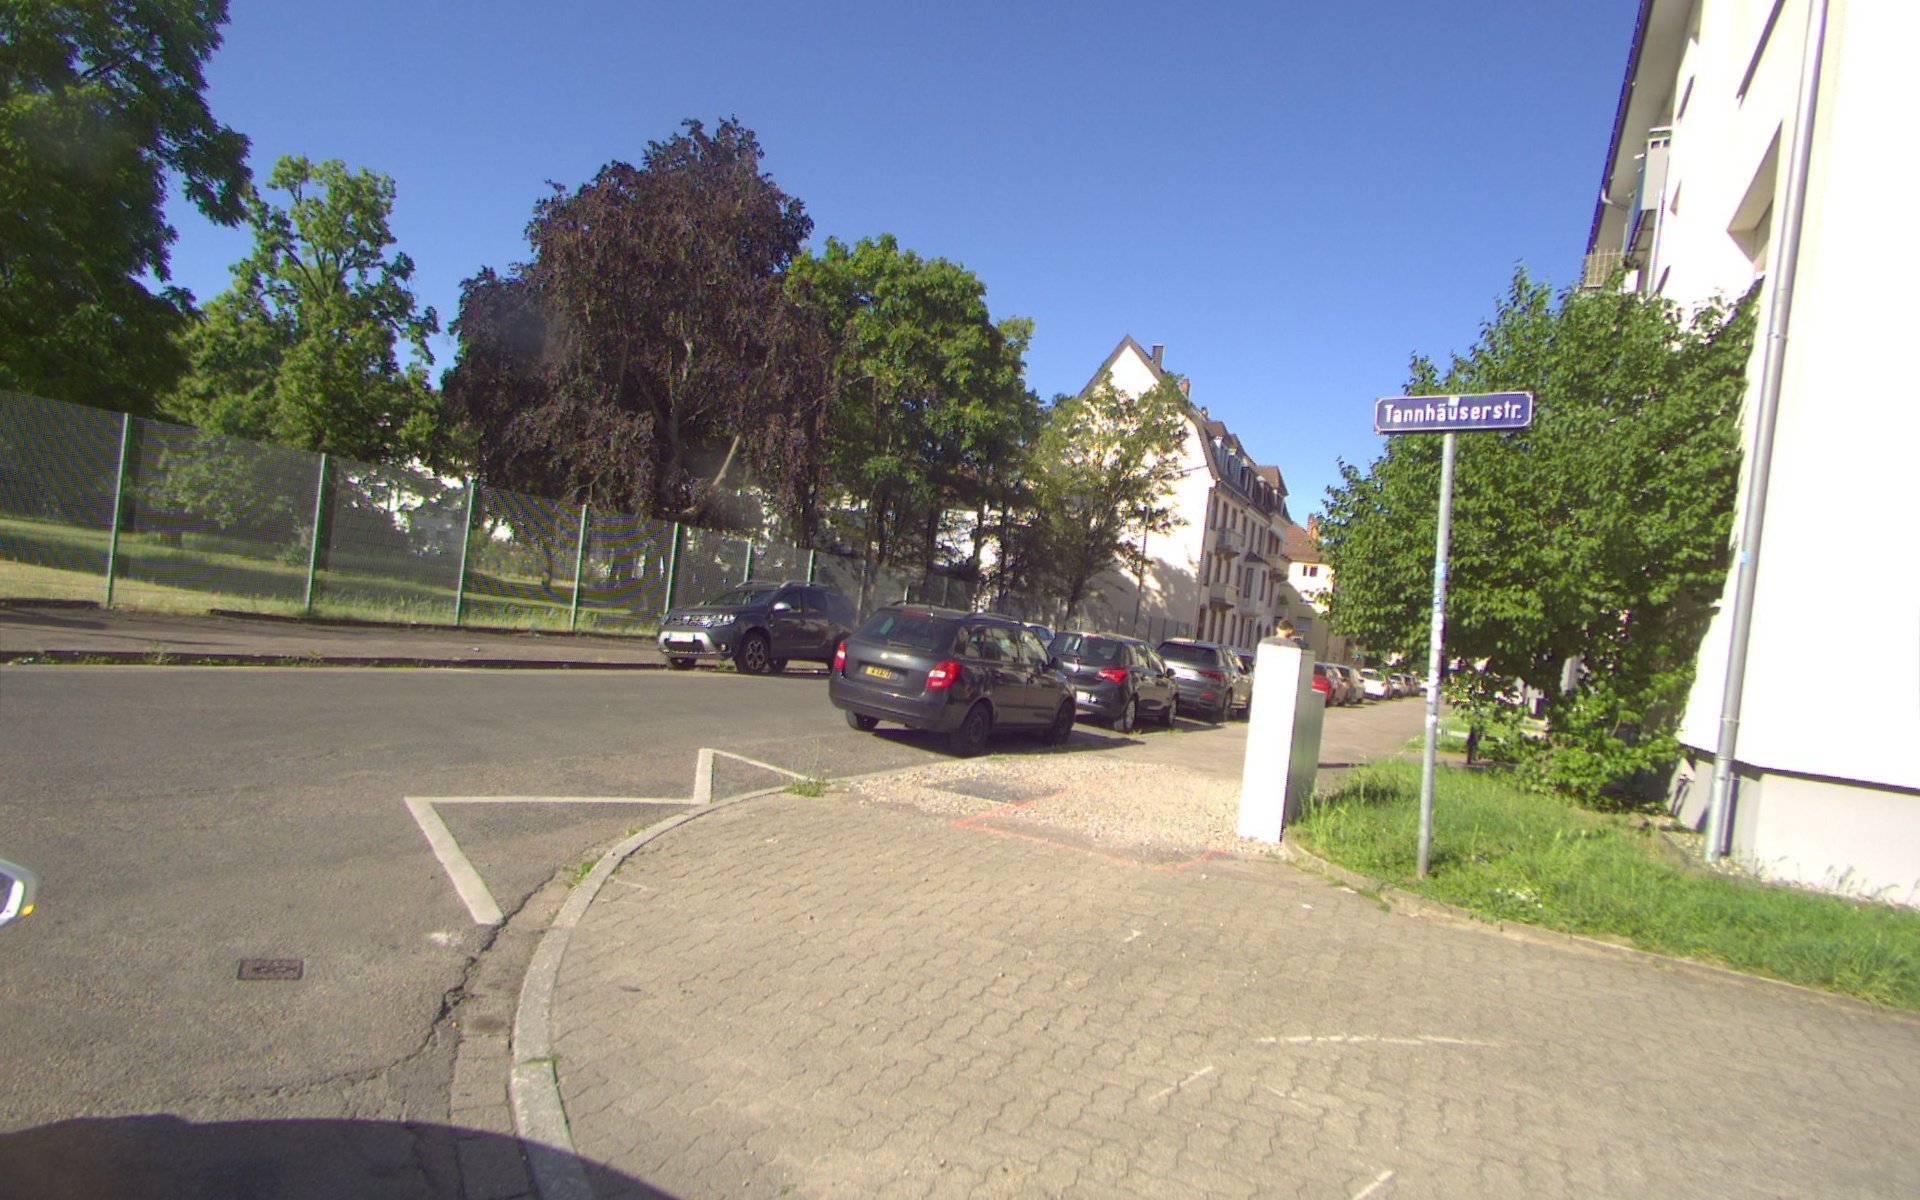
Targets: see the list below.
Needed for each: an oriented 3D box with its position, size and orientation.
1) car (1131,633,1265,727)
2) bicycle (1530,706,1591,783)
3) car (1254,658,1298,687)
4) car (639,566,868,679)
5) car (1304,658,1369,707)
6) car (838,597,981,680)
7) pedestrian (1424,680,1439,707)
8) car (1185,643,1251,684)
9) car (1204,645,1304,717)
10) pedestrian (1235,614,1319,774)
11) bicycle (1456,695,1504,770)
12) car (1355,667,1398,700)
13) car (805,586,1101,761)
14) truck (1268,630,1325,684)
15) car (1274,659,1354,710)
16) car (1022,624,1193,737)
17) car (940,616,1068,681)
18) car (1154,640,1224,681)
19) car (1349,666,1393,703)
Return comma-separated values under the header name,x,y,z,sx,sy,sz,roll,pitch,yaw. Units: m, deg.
name,x,y,z,sx,sy,sz,roll,pitch,yaw
car,5.189,1.705,21.498,1.727,1.577,4.253,8,-1,26
bicycle,9.277,2.196,15.594,0.478,0.972,2.282,6,-1,25
car,18.484,4.225,58.671,1.767,1.559,4.637,1,-3,26
car,-3.513,0.481,17.920,1.688,1.683,4.161,3,-3,27
car,15.466,3.362,41.183,1.871,1.641,4.599,7,-1,27
car,-1.051,0.922,22.731,1.542,1.662,3.613,3,-3,27
pedestrian,26.404,5.227,56.347,0.567,1.451,0.470,5,0,31
car,12.245,3.033,47.545,1.852,1.683,4.927,5,-2,28
car,7.804,2.126,26.468,1.727,1.498,4.078,8,-1,26
pedestrian,3.848,1.124,12.172,0.636,1.793,0.840,7,0,27
bicycle,8.349,2.094,16.200,0.478,1.024,2.282,6,-1,25
car,23.195,4.623,55.963,1.664,1.485,3.577,10,1,29
car,0.122,0.876,11.948,1.595,1.566,4.081,7,-2,29
truck,22.147,3.806,65.991,2.226,3.021,7.272,7,-1,27
car,12.396,2.953,35.042,1.728,1.461,4.517,7,-1,30
car,2.604,1.345,16.942,1.582,1.502,3.795,7,-1,27
car,1.280,1.352,27.237,1.769,1.462,4.116,5,-2,28
car,9.814,2.609,42.853,1.768,1.488,4.499,4,-2,27
car,21.009,4.315,51.334,1.661,1.480,3.818,13,1,25
